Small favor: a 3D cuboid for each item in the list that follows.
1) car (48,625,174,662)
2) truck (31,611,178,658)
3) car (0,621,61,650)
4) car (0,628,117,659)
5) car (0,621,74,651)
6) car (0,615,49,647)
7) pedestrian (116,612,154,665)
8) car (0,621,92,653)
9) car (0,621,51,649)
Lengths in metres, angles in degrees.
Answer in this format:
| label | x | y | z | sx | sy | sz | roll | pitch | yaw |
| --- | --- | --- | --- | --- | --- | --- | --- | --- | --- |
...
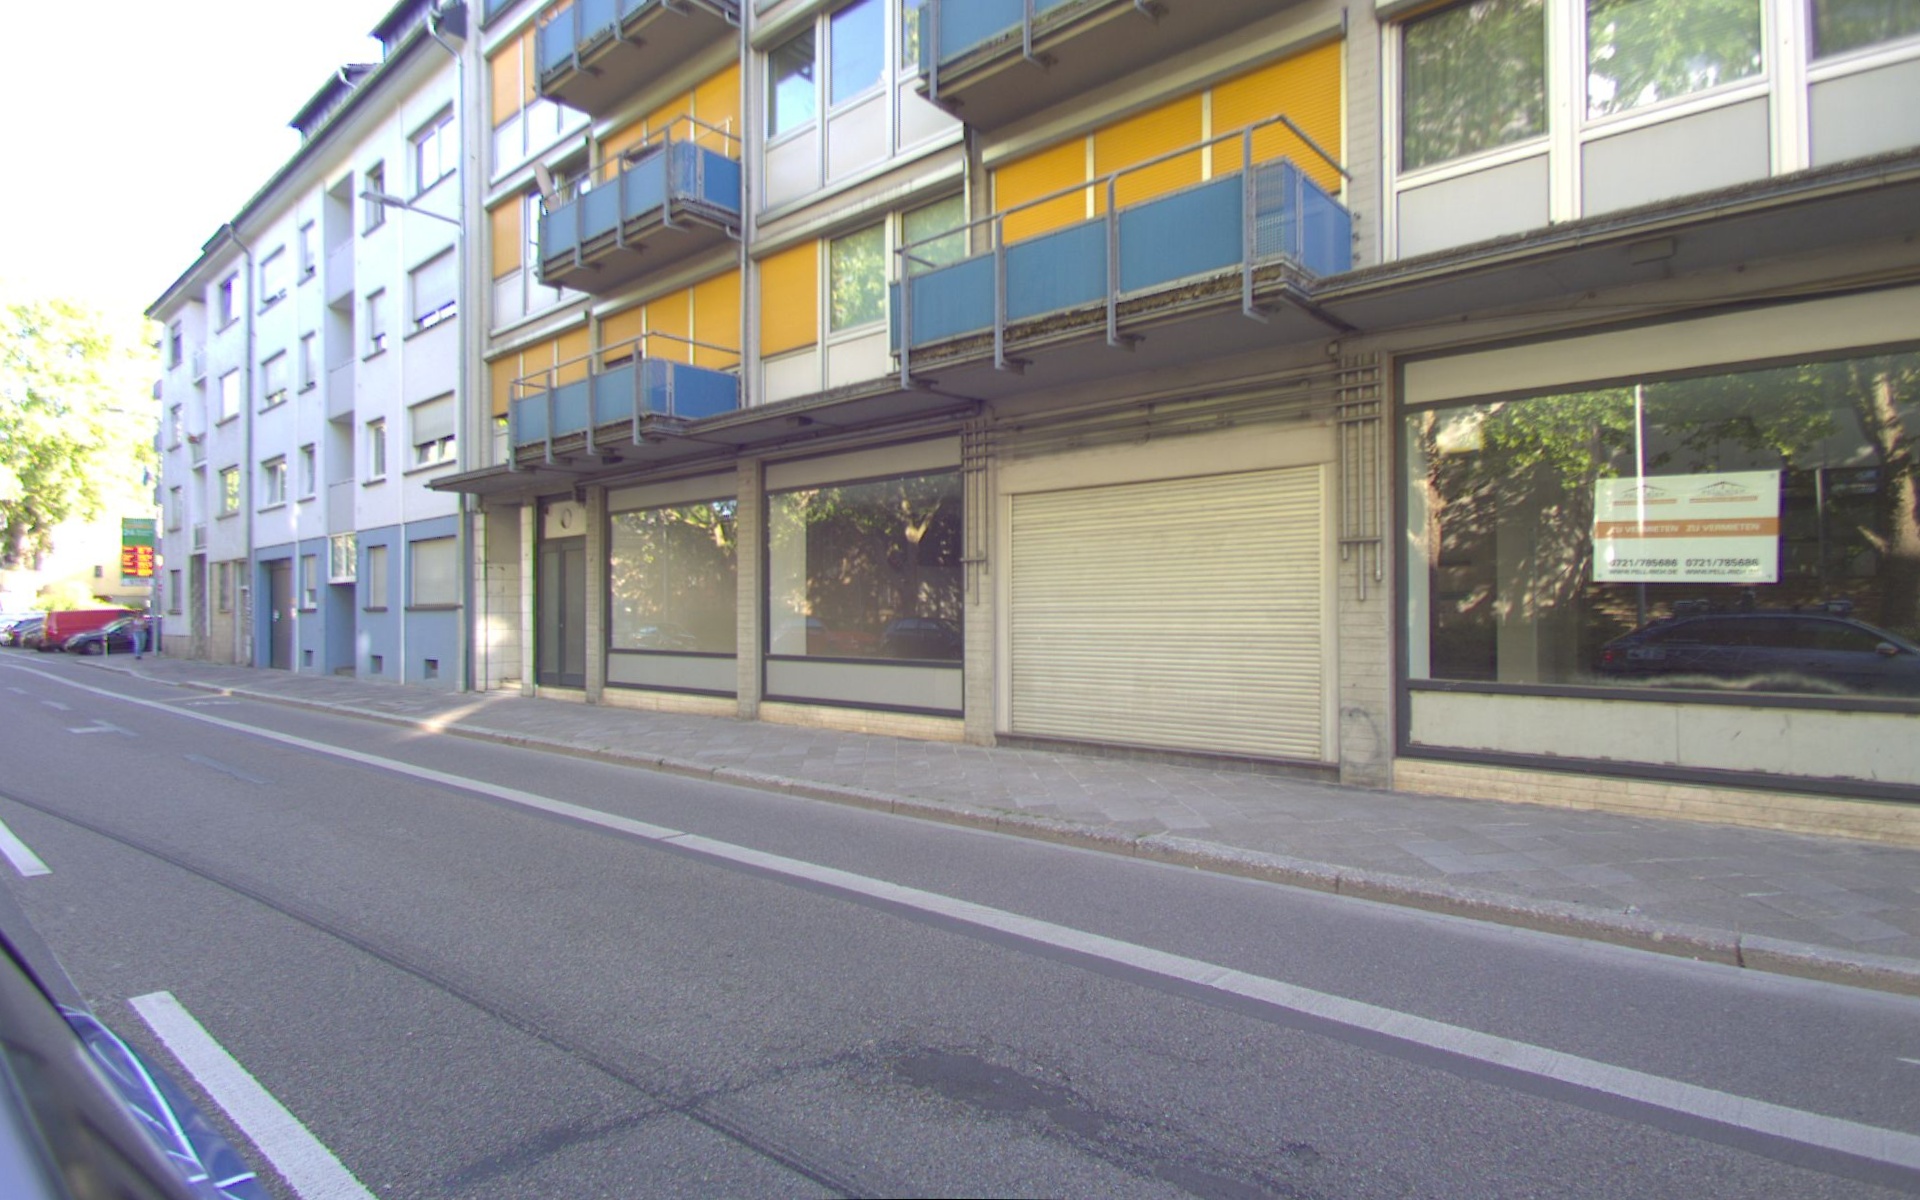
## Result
| label | x | y | z | sx | sy | sz | roll | pitch | yaw |
| --- | --- | --- | --- | --- | --- | --- | --- | --- | --- |
| car | -36.813 | 1.868 | 43.938 | 1.780 | 1.404 | 3.947 | -1 | 0 | 39 |
| truck | -40.347 | 1.574 | 47.838 | 1.998 | 2.036 | 5.024 | -1 | 0 | 40 |
| car | -55.064 | 2.070 | 59.003 | 1.715 | 1.594 | 3.660 | -1 | 0 | 35 |
| car | -43.235 | 2.047 | 48.601 | 1.904 | 1.282 | 3.983 | -1 | 0 | 39 |
| car | -52.879 | 2.025 | 57.474 | 1.656 | 1.599 | 3.615 | -1 | 0 | 35 |
| car | -59.755 | 1.955 | 63.837 | 1.693 | 1.953 | 3.224 | -1 | 0 | 43 |
| pedestrian | -28.421 | 1.302 | 34.869 | 0.741 | 1.785 | 0.884 | -1 | 0 | 41 |
| car | -50.818 | 2.021 | 55.970 | 1.699 | 1.640 | 3.952 | -1 | 0 | 35 |
| car | -56.884 | 2.110 | 60.396 | 1.740 | 1.600 | 3.685 | -1 | 0 | 35 |
